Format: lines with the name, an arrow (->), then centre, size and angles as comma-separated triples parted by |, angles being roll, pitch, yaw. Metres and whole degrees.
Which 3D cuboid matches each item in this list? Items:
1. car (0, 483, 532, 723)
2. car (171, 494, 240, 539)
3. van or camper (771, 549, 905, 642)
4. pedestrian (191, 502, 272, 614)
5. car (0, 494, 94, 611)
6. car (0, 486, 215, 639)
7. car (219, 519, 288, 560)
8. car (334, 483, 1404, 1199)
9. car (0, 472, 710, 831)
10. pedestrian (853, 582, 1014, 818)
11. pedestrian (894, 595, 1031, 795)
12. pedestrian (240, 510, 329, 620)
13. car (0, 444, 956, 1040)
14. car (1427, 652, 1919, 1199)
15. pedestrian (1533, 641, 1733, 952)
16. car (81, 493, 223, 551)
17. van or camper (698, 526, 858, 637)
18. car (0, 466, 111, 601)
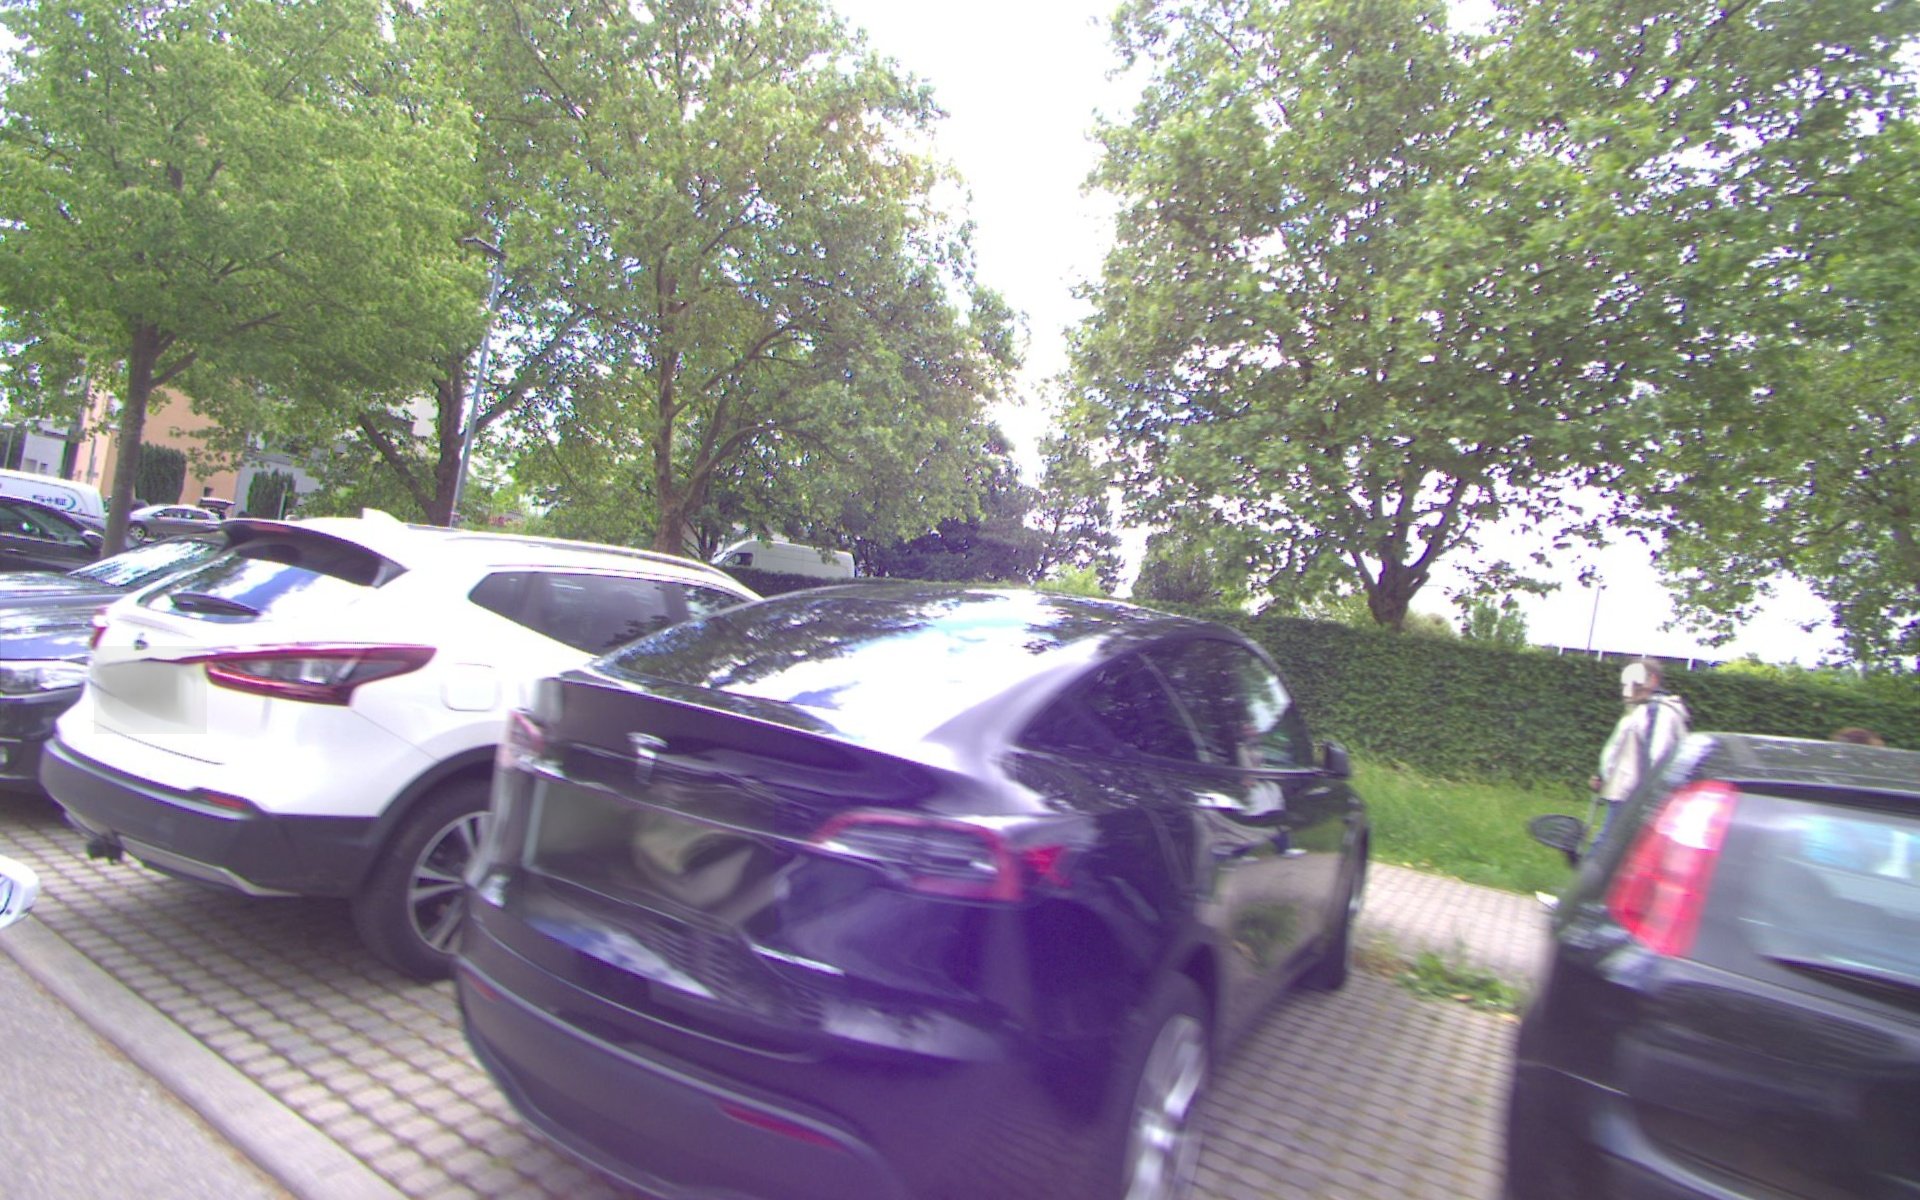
car -> -6.148, 0.071, 8.213 | 1.918, 1.509, 4.587 | 7, -2, 28
car -> -34.433, -3.822, 45.859 | 3.722, 1.679, 1.567 | 7, 0, 39
van or camper -> -4.732, -0.148, 38.862 | 4.422, 2.829, 2.105 | 10, -2, -21
pedestrian -> -11.786, -0.673, 16.281 | 0.590, 1.675, 0.690 | 8, -1, 31
car -> -13.198, -0.774, 12.038 | 1.811, 1.388, 3.832 | 7, -1, 28
car -> -10.862, -0.517, 11.010 | 1.879, 1.538, 3.832 | 7, 0, 29
car -> -33.542, -2.894, 47.744 | 3.722, 1.499, 1.636 | 7, -2, 39
car -> 0.267, 0.773, 3.467 | 1.568, 1.592, 3.675 | 6, -3, 34
car -> -3.816, 0.367, 6.201 | 1.856, 1.536, 3.989 | 6, -3, 39
pedestrian -> -0.218, 0.834, 8.552 | 0.864, 1.813, 0.741 | 8, -1, 33
pedestrian -> 0.036, 0.937, 10.034 | 0.864, 1.813, 0.741 | 8, -1, 33
pedestrian -> -11.341, -0.577, 16.901 | 0.583, 1.675, 0.871 | 8, -1, 31
car -> -1.876, 0.514, 4.841 | 1.822, 1.665, 3.675 | 6, -3, 34
car -> 2.604, 1.132, 2.991 | 1.619, 1.515, 3.675 | 7, -2, 34
pedestrian -> 4.488, 1.266, 6.770 | 0.864, 1.813, 0.832 | 8, -1, 33
car -> -32.343, -3.090, 40.403 | 1.692, 1.637, 4.007 | 7, -1, 26
van or camper -> -5.932, -0.557, 32.881 | 4.428, 2.829, 2.102 | 10, -2, -26
car -> -15.121, -1.169, 13.879 | 1.811, 1.854, 4.782 | 7, 0, 29
